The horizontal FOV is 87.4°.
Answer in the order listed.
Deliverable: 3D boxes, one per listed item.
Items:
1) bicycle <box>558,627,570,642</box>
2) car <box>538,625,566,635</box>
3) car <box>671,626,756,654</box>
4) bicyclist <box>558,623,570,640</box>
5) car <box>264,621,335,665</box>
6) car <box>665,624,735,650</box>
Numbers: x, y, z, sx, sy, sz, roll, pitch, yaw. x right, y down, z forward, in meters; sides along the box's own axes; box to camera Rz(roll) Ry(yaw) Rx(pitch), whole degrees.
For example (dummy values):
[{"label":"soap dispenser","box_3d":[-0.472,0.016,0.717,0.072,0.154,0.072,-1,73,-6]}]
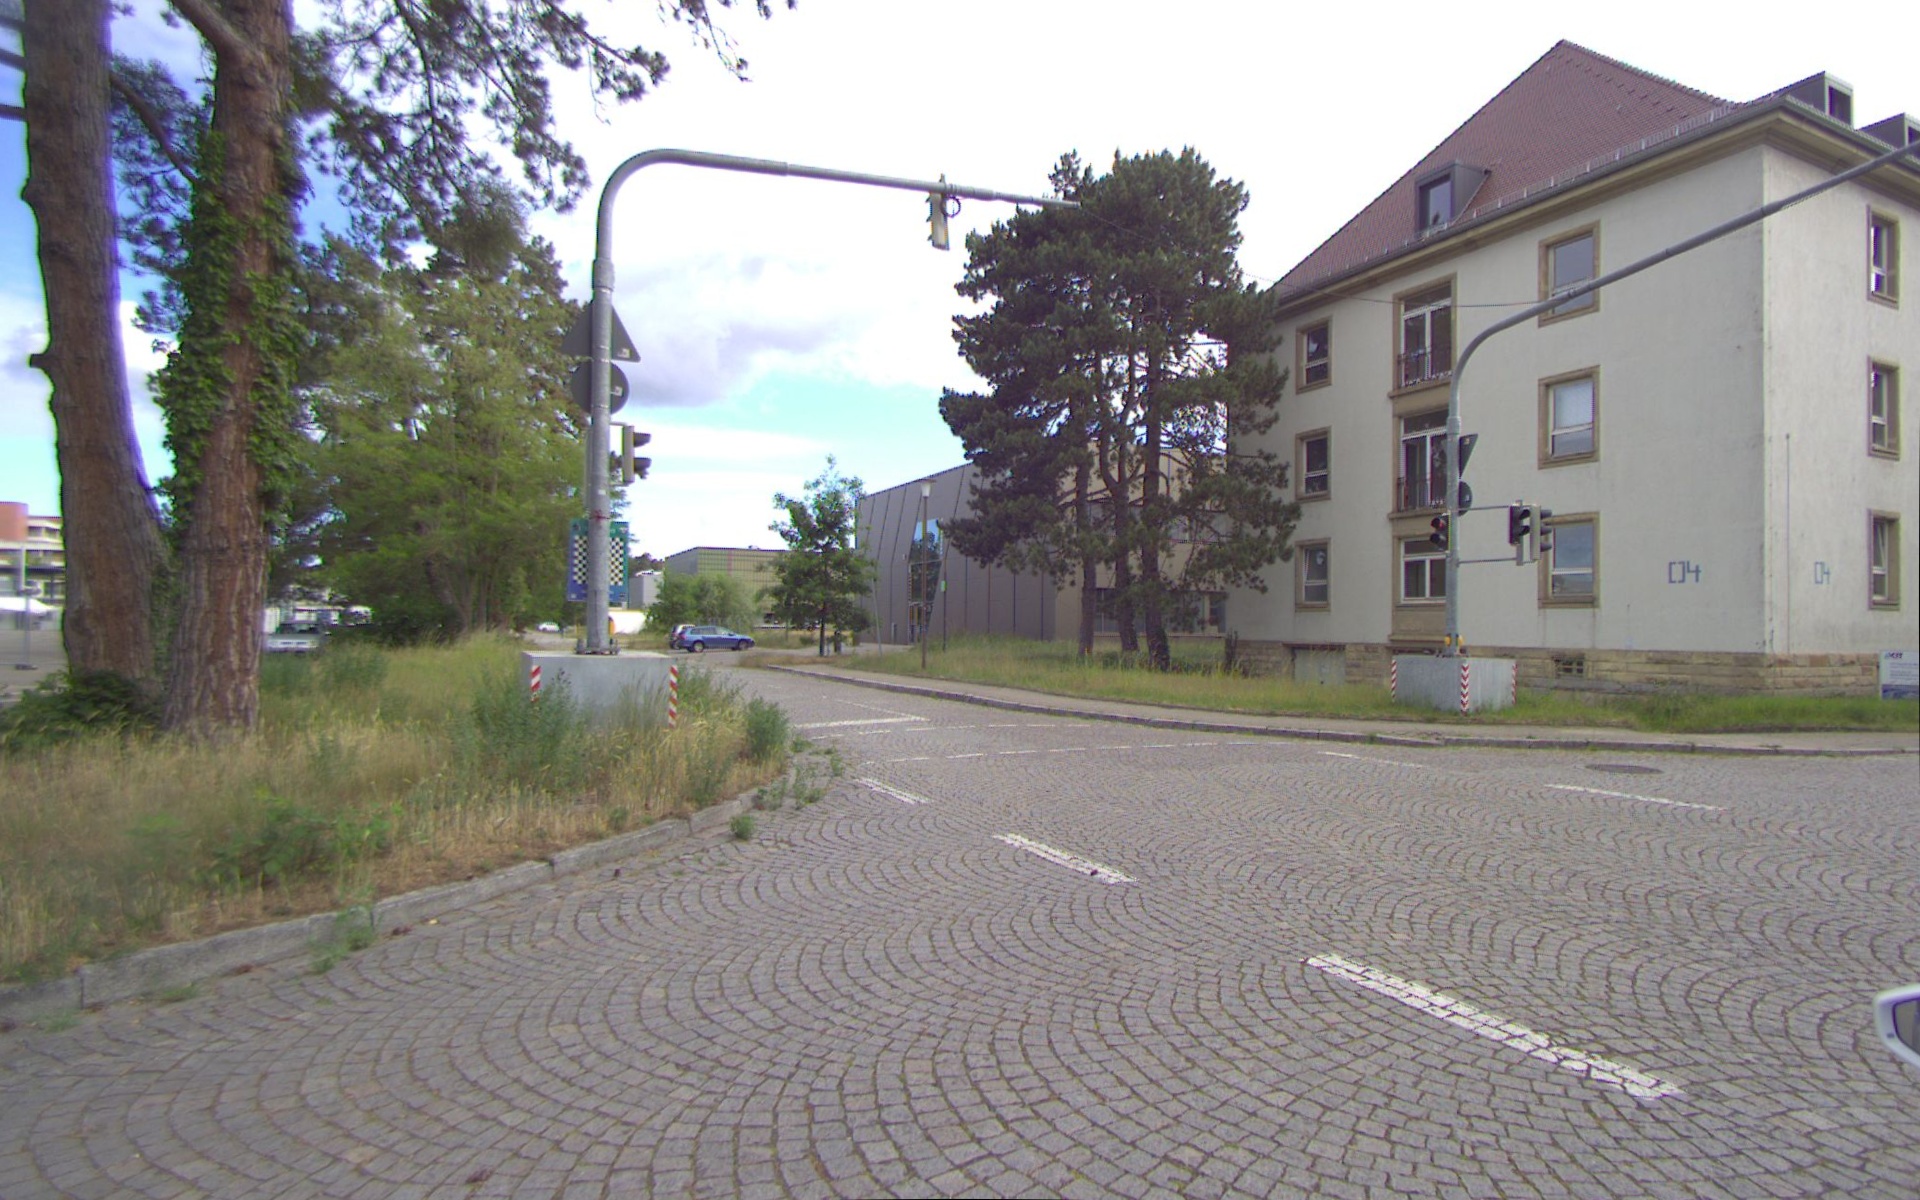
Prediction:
[{"label":"bicycle","box_3d":[-37.624,3.291,95.442,0.816,1.395,2.028,2,-1,-27]},{"label":"car","box_3d":[-67.046,4.896,165.091,4.278,1.570,1.988,1,-2,-25]},{"label":"car","box_3d":[-14.331,2.298,58.404,4.440,1.482,1.920,-1,-1,-29]},{"label":"bicyclist","box_3d":[-37.619,2.968,95.437,0.889,1.562,0.862,2,-1,-28]},{"label":"car","box_3d":[-24.211,1.536,36.933,1.713,1.451,4.132,1,-1,-27]},{"label":"car","box_3d":[-16.930,2.398,65.388,4.070,1.593,1.752,-1,-1,-29]}]
